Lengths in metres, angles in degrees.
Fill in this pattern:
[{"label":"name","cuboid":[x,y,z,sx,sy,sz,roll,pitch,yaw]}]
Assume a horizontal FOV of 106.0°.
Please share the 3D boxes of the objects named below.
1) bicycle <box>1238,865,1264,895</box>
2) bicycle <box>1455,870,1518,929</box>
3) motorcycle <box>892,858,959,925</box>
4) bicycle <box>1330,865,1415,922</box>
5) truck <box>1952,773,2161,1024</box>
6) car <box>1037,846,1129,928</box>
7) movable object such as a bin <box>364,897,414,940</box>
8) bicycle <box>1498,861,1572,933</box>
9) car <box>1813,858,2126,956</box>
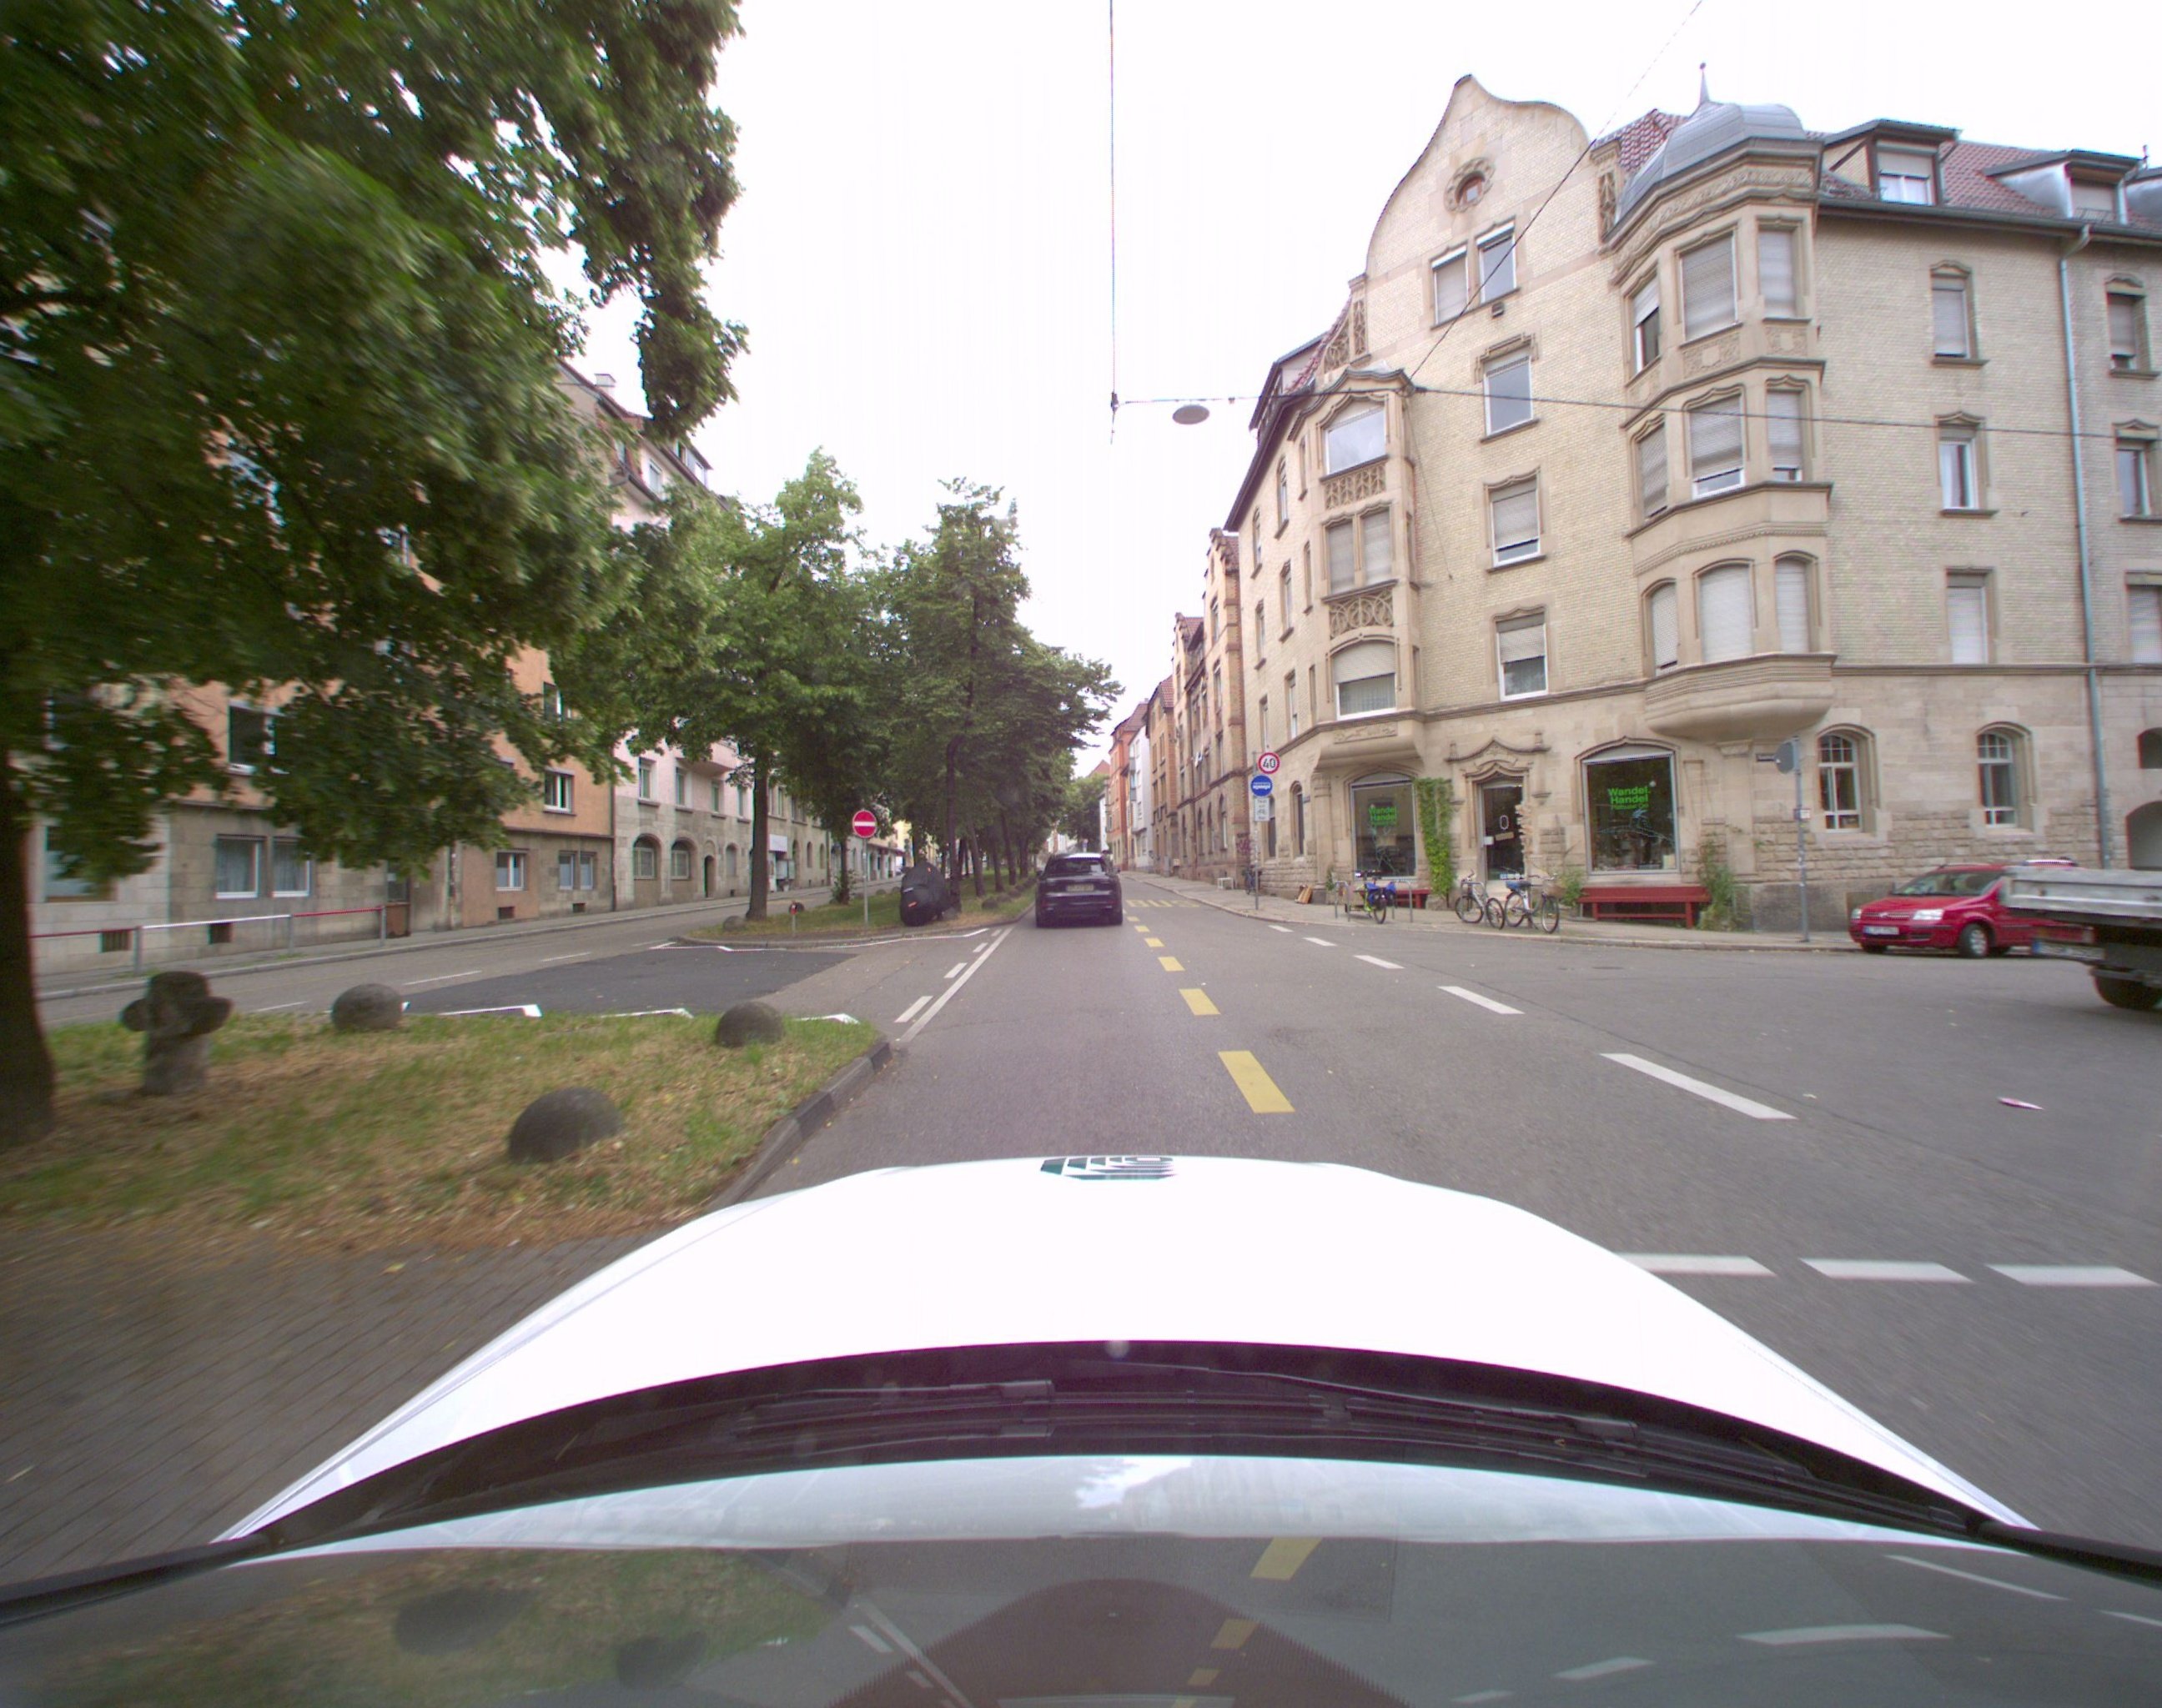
[{"label":"bicycle","cuboid":[6.108,0.928,29.320,0.445,1.037,2.248,-2,-1,0]},{"label":"bicycle","cuboid":[8.125,0.877,16.375,0.347,1.059,1.834,1,0,0]},{"label":"motorcycle","cuboid":[-3.634,0.844,19.282,1.016,1.446,2.248,-3,-1,2]},{"label":"bicycle","cuboid":[6.379,0.833,18.052,0.876,1.129,2.980,-1,-1,1]},{"label":"truck","cuboid":[11.886,0.401,7.638,5.556,2.133,2.375,0,0,-9]},{"label":"car","cuboid":[-0.001,0.693,19.598,1.988,1.665,3.998,-1,1,-1]},{"label":"movable object such as a bin","cuboid":[-17.901,1.663,21.073,0.690,1.060,0.689,-1,-1,-3]},{"label":"bicycle","cuboid":[8.892,0.807,16.034,0.445,1.161,1.835,-3,5,0]},{"label":"car","cuboid":[14.517,0.815,13.441,3.354,1.482,1.862,0,-1,-5]}]
